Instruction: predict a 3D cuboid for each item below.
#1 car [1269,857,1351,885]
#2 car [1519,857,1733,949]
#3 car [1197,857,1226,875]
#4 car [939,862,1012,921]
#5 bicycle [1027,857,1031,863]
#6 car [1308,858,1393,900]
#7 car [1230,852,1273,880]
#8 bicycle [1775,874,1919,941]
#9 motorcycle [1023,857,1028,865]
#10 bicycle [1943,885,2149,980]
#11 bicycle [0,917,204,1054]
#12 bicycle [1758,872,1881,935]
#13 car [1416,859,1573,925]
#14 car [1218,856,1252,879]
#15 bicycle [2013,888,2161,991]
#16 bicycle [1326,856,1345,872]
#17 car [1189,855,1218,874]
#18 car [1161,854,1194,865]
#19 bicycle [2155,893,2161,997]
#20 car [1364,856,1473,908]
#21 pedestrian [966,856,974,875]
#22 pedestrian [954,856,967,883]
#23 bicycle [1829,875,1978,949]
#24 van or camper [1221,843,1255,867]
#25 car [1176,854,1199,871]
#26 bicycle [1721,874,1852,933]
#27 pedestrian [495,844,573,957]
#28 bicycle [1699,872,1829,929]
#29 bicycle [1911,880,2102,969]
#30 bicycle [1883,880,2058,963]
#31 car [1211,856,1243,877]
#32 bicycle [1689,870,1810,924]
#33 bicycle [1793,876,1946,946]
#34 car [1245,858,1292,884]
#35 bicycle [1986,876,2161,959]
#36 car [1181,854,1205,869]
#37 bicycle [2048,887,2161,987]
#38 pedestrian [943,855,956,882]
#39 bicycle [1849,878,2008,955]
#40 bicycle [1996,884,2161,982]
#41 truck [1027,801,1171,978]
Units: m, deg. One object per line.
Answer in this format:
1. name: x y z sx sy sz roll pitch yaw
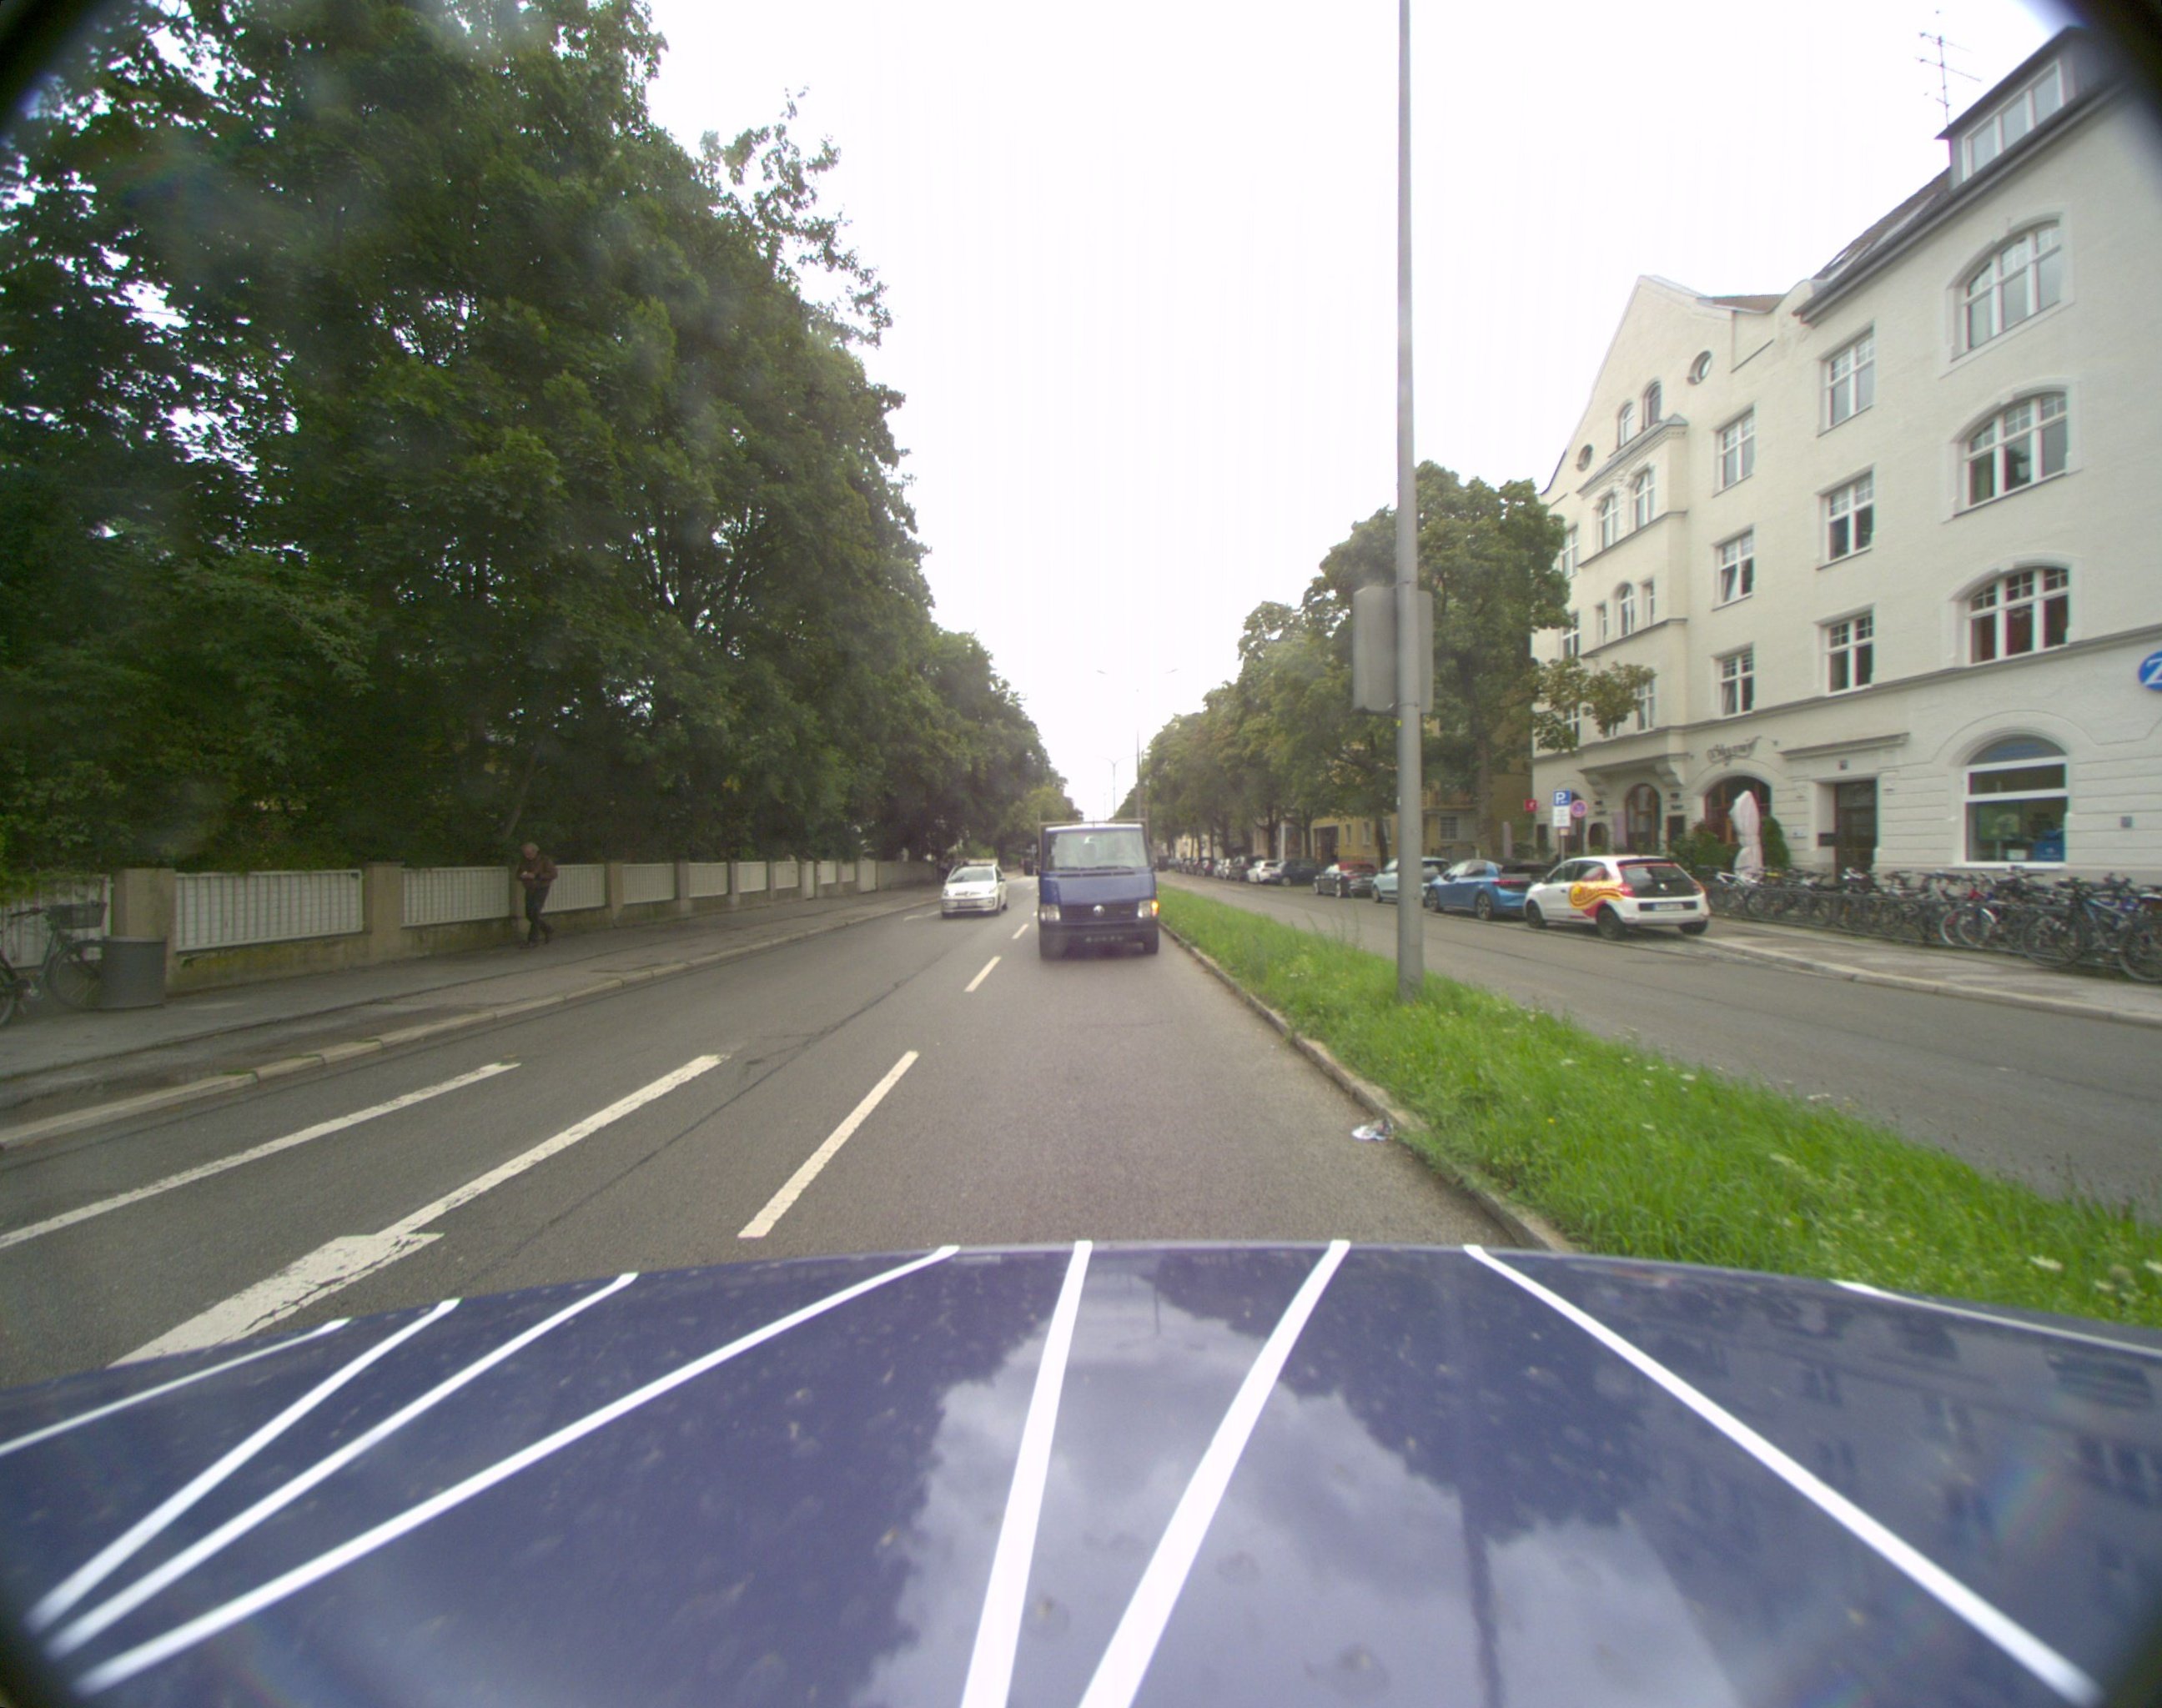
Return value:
1. car: 12.414 0.895 41.335 3.899 1.455 1.732 0 0 -1
2. car: 10.608 0.867 15.160 1.653 1.576 3.790 -1 0 2
3. car: 10.953 1.003 64.112 1.731 1.398 4.363 -1 0 1
4. car: -3.045 1.036 22.485 1.647 1.553 3.586 -1 0 0
5. bicycle: -8.853 1.001 128.999 0.490 1.092 1.631 -1 0 -10
6. car: 10.687 0.955 30.509 1.815 1.498 4.645 -1 0 1
7. car: 11.241 0.759 50.469 1.815 1.718 4.767 -1 0 1
8. bicycle: 14.015 0.942 13.978 0.331 1.109 1.871 -1 0 -23
9. motorcycle: -8.884 1.111 121.466 0.497 1.135 1.631 -1 0 -10
10. bicycle: 12.849 0.995 10.191 0.331 1.109 1.678 -1 0 -23
11. bicycle: -9.841 1.225 7.229 0.624 1.084 2.026 -1 0 0
12. bicycle: 14.220 0.926 14.680 0.331 1.109 1.677 -1 0 -27
13. car: 10.650 0.906 19.953 1.815 1.498 4.291 -1 0 1
14. car: 11.099 0.945 54.888 1.731 1.548 3.009 -1 0 -1
15. bicycle: 12.112 0.976 8.765 0.368 1.109 1.678 -1 0 -23
16. bicycle: 19.348 0.744 57.818 0.771 1.215 1.931 -1 0 0
17. car: 11.193 0.908 69.755 1.883 1.636 4.770 -1 0 1
18. car: 12.707 0.733 100.182 3.990 1.367 1.865 -1 -1 26
19. bicycle: 12.103 0.981 7.518 0.331 1.109 1.678 -1 0 -23
20. car: 10.852 0.853 24.764 1.815 1.498 3.960 -1 0 1
21. pedestrian: -9.374 0.996 64.395 0.529 1.572 0.729 1 1 0
22. pedestrian: -7.673 0.985 48.482 0.668 1.683 0.729 1 1 0
23. bicycle: 13.671 0.930 12.694 0.331 1.109 1.678 -1 0 -23
24. van or camper: 17.260 0.103 83.837 2.351 2.564 6.851 -1 0 1
25. car: 11.244 0.899 80.640 1.878 1.677 4.438 -1 0 1
26. bicycle: 14.331 0.973 15.497 0.550 1.109 1.877 -1 0 -31
27. pedestrian: -9.572 0.792 13.325 0.779 1.931 0.802 0 1 1
28. bicycle: 14.480 0.952 16.174 0.505 1.109 1.984 -1 0 -31
29. bicycle: 13.012 0.951 10.755 0.383 1.109 1.678 -1 0 -23
30. bicycle: 13.255 0.965 11.388 0.331 1.109 1.678 -1 0 -23
31. car: 11.291 0.930 58.958 1.731 1.552 4.057 -1 0 1
32. bicycle: 14.727 0.921 16.798 0.460 1.109 1.961 -1 0 -31
33. bicycle: 13.829 0.957 13.399 0.331 1.109 1.871 -1 0 -23
34. car: 10.972 0.983 44.802 1.731 1.394 4.404 -1 0 1
35. bicycle: 14.778 0.896 11.293 0.331 1.109 1.678 -1 0 -23
36. car: 11.118 0.690 75.649 1.696 1.446 4.492 -1 0 1
37. bicycle: 12.540 0.970 8.768 0.331 1.109 1.678 -1 0 -23
38. pedestrian: -8.404 0.932 48.533 0.668 1.695 0.766 1 1 0
39. bicycle: 13.454 0.952 12.127 0.331 1.109 1.678 -1 0 -23
40. bicycle: 12.705 0.950 9.436 0.367 1.109 1.678 -1 0 -23
41. truck: 0.291 0.498 13.309 1.998 2.475 5.151 -1 0 1
